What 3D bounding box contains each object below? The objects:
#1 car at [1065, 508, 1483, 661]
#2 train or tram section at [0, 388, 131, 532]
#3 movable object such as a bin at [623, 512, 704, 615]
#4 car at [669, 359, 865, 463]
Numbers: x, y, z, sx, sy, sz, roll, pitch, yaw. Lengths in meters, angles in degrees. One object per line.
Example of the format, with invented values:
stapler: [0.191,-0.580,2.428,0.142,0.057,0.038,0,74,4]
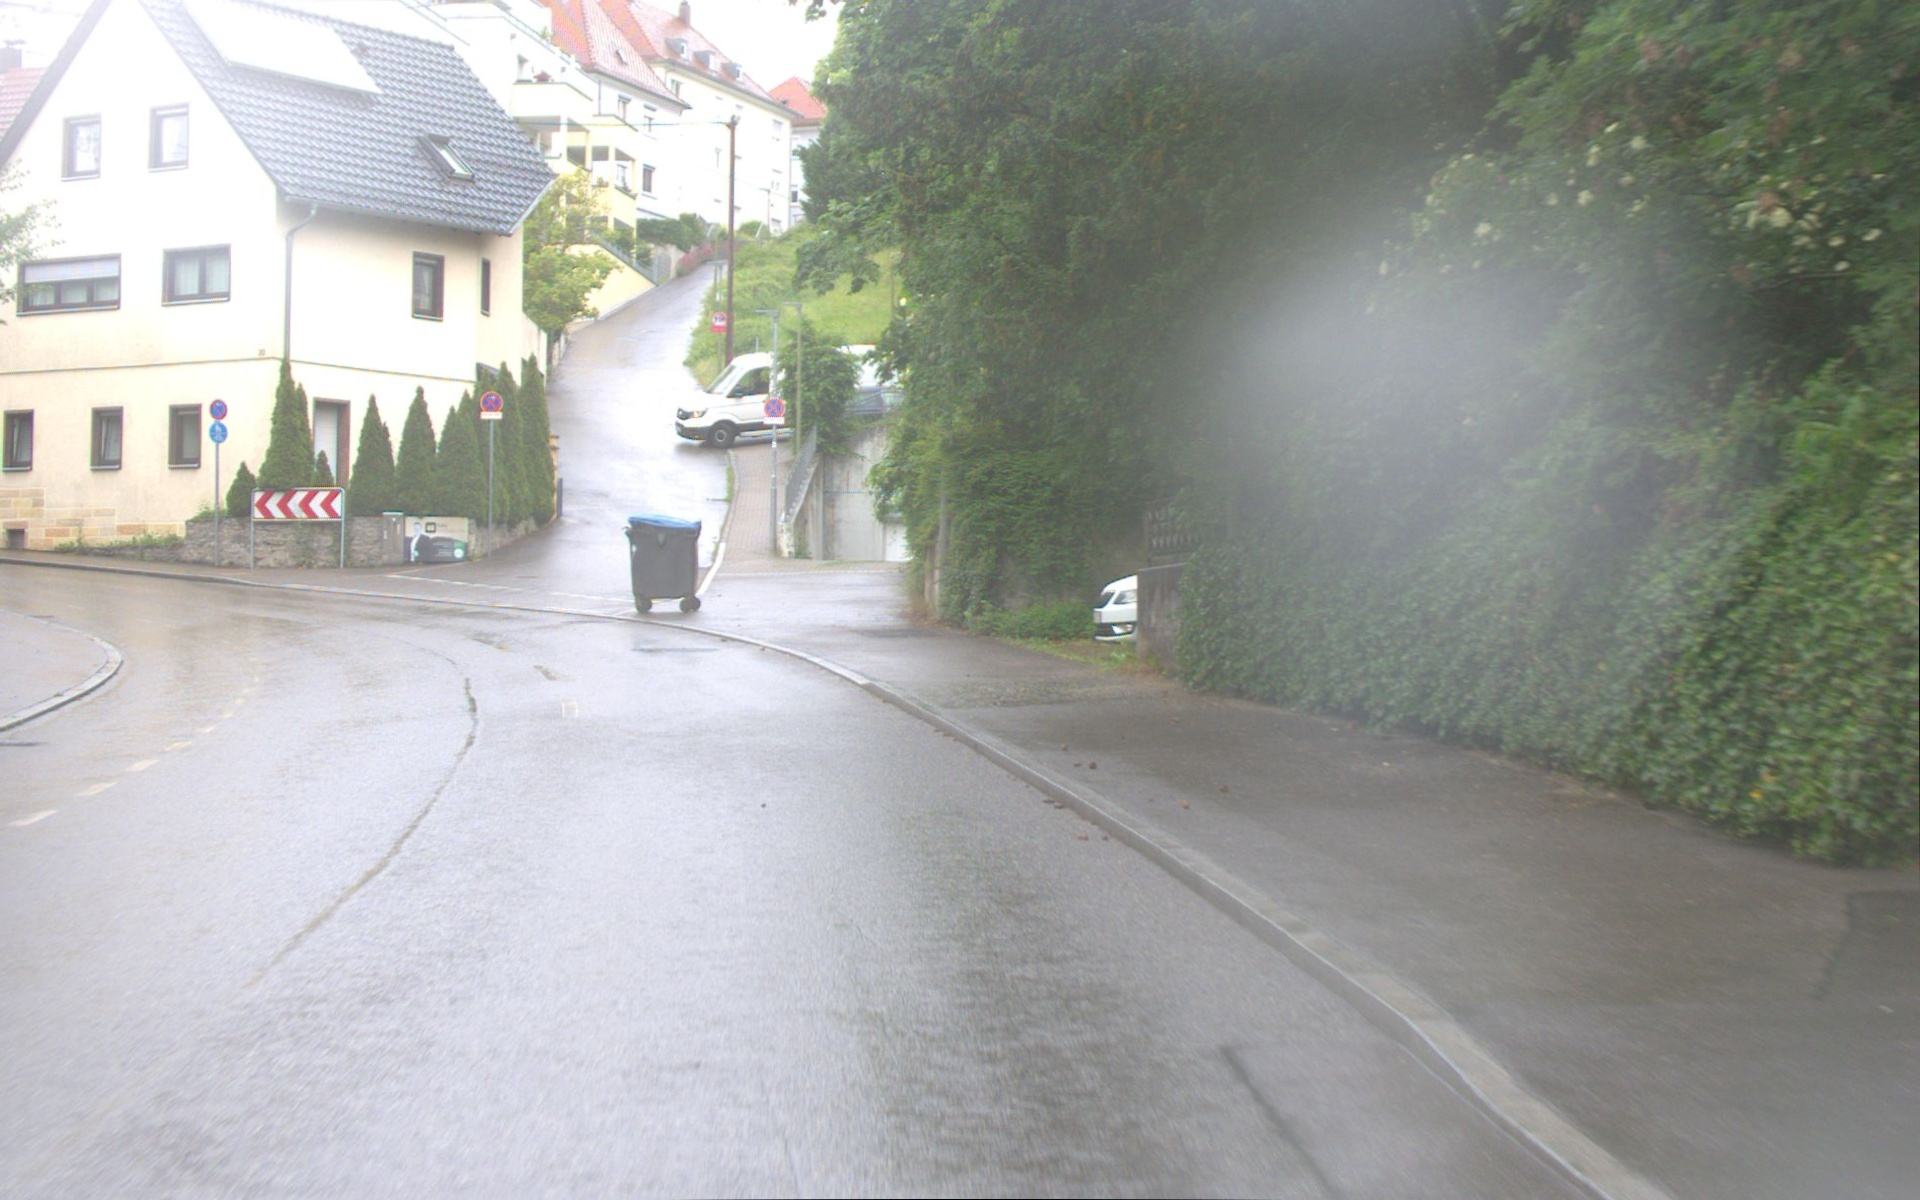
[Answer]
car: [3.328,-0.188,36.904,4.142,1.471,1.905,-2,2,-5]
train or tram section: [-21.929,-3.135,77.252,2.362,3.192,6.859,1,2,30]
movable object such as a bin: [-4.290,-0.541,49.788,1.081,1.437,1.458,1,1,-3]
car: [-5.132,-4.996,91.034,4.941,2.560,1.905,-2,2,-9]
